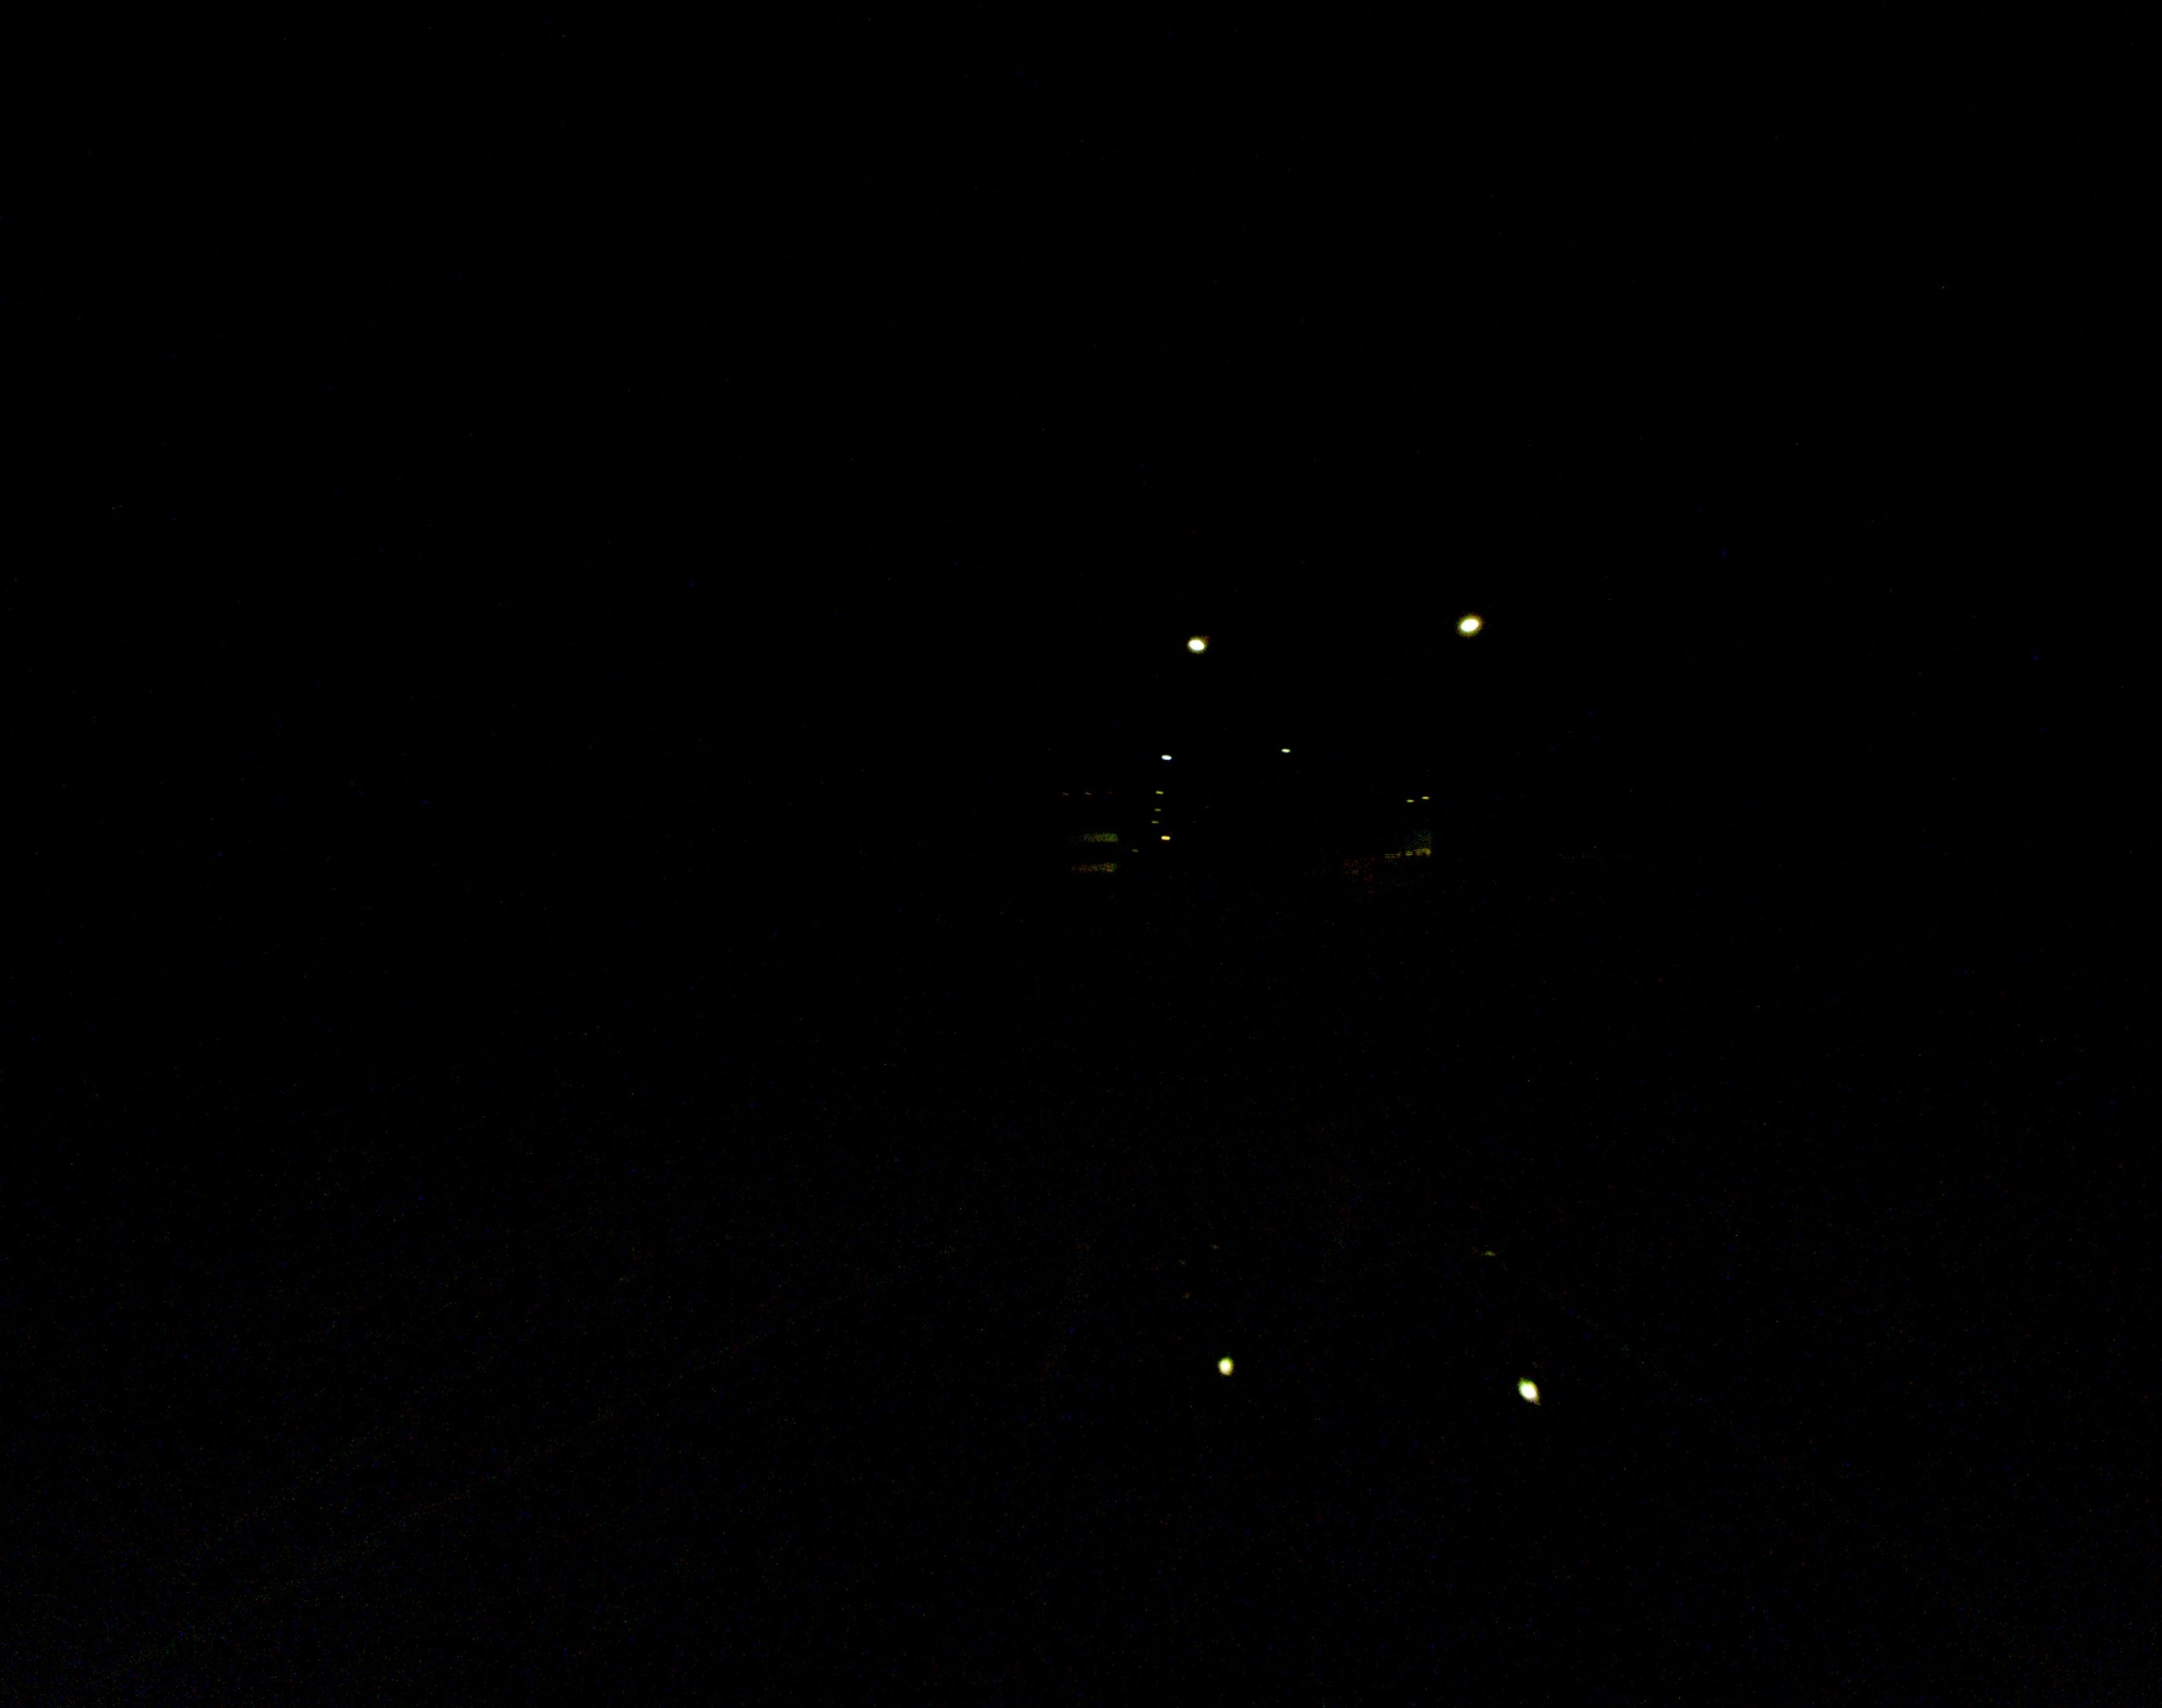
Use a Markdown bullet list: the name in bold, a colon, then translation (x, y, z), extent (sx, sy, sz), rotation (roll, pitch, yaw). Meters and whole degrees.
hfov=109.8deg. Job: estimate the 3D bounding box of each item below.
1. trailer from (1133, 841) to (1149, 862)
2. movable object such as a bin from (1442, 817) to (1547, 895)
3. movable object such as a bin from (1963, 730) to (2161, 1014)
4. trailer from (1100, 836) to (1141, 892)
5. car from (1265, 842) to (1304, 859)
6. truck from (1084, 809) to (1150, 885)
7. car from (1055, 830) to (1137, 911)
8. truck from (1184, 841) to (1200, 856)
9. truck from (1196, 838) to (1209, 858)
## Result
- **trailer**: translation (10.114, -0.372, 128.326), extent (2.403, 3.306, 4.363), rotation (-3, 0, 3)
- **movable object such as a bin**: translation (13.827, 0.049, 25.554), extent (1.554, 2.453, 2.835), rotation (-1, 1, -15)
- **movable object such as a bin**: translation (11.148, 0.179, 7.041), extent (1.574, 2.718, 3.700), rotation (1, 0, -1)
- **trailer**: translation (1.977, 0.441, 36.933), extent (1.635, 2.459, 5.029), rotation (-3, 0, 5)
- **car**: translation (25.997, -0.442, 97.168), extent (4.441, 1.960, 2.001), rotation (-3, 0, 5)
- **truck**: translation (2.324, -0.403, 44.850), extent (3.331, 3.846, 9.330), rotation (-3, 1, 5)
- **car**: translation (0.714, 0.522, 27.450), extent (2.113, 2.501, 6.375), rotation (-3, 0, 8)
- **truck**: translation (29.135, -1.355, 199.050), extent (2.828, 3.610, 10.402), rotation (-3, 0, 2)
- **truck**: translation (27.325, -1.468, 171.157), extent (2.643, 4.290, 12.829), rotation (0, 1, 8)
